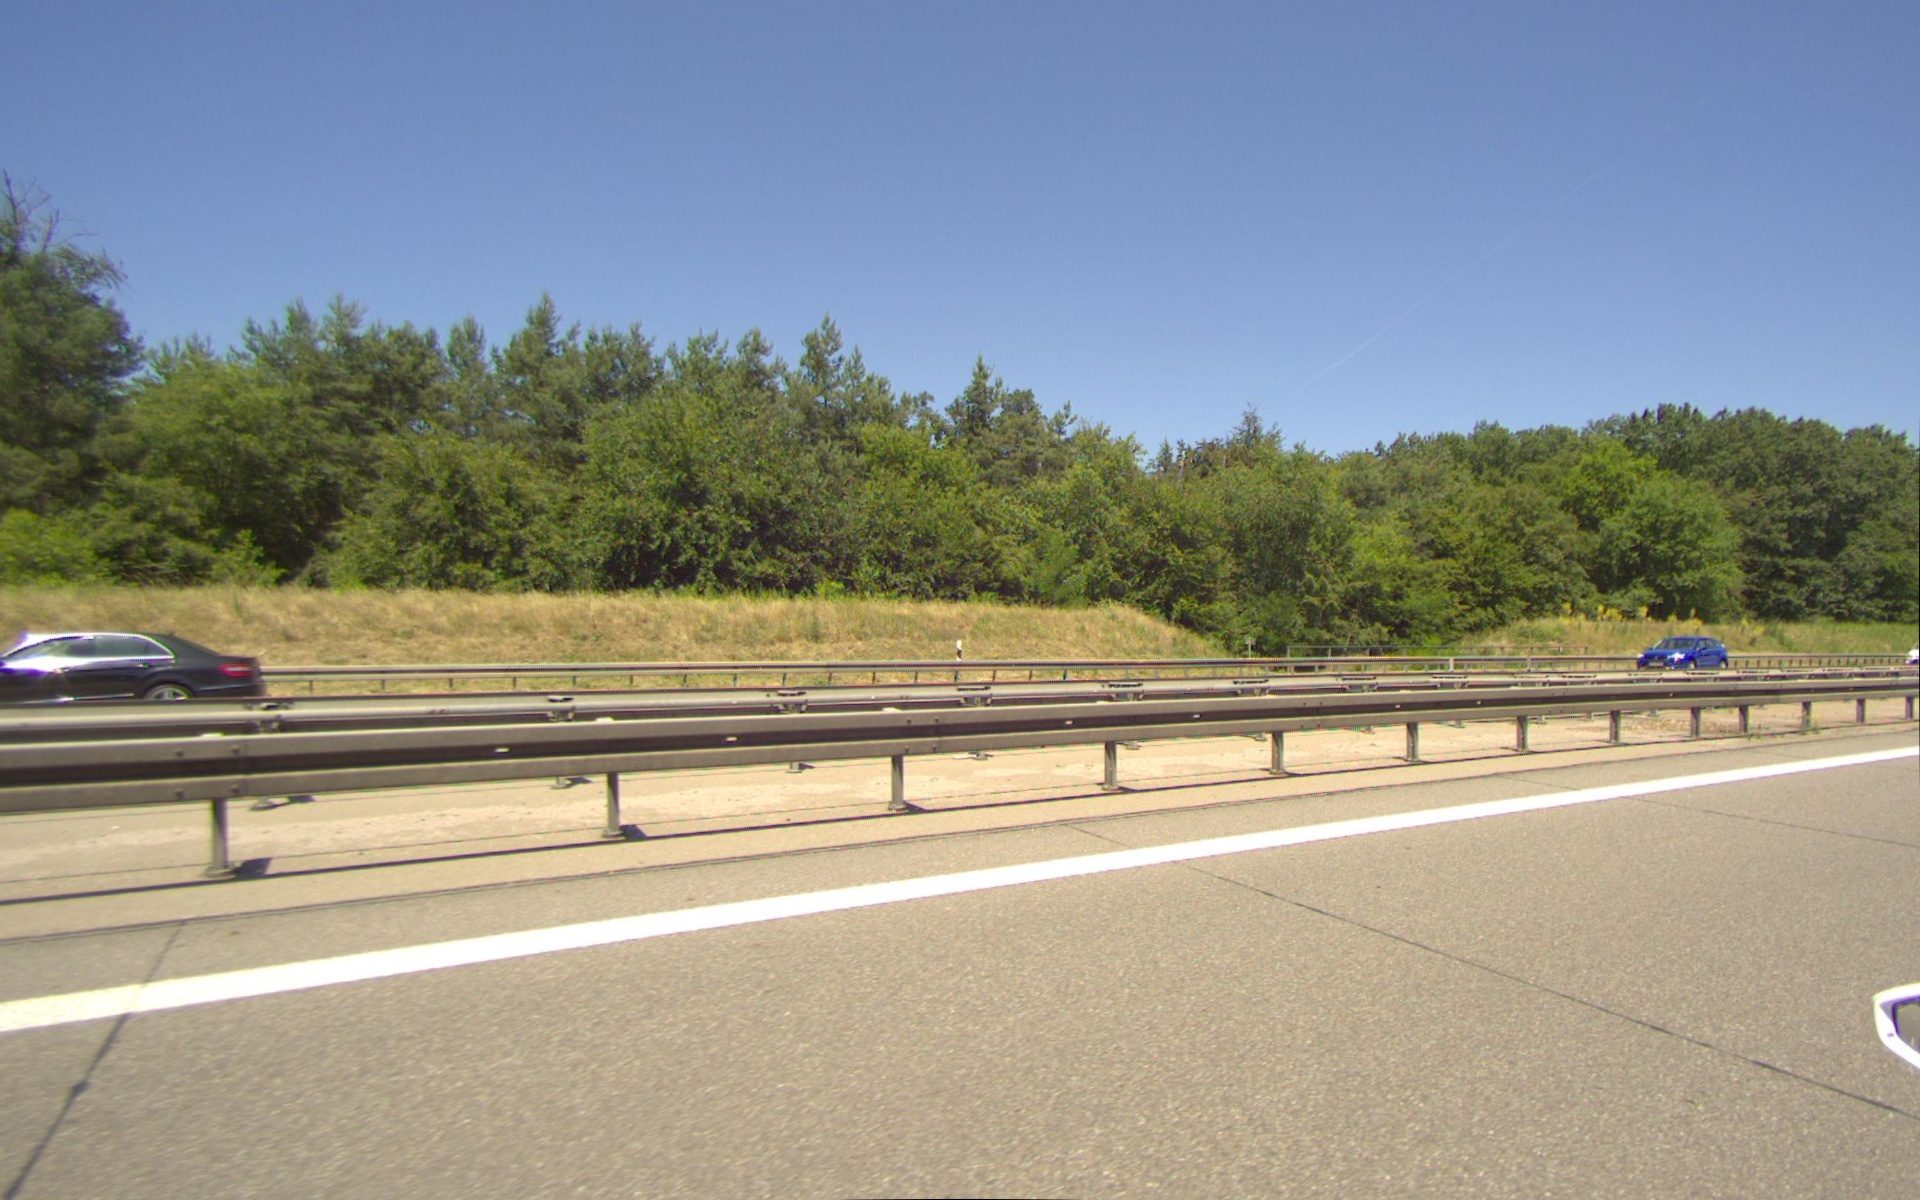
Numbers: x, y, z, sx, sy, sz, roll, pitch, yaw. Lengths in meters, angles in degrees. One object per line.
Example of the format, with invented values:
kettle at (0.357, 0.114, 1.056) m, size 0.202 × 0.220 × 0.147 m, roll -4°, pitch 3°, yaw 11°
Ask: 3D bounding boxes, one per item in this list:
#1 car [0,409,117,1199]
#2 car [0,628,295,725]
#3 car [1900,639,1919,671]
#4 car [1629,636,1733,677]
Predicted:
car at (-4.329, 0.481, 0.474) m, size 5.747 × 1.775 × 1.930 m, roll 1°, pitch 0°, yaw -31°
car at (-13.313, 1.166, 15.626) m, size 4.833 × 1.383 × 1.668 m, roll 1°, pitch -4°, yaw -31°
car at (53.824, 3.000, 55.258) m, size 5.057 × 1.682 × 1.694 m, roll 1°, pitch -4°, yaw -31°
car at (28.798, 2.227, 40.081) m, size 4.482 × 1.565 × 1.694 m, roll 1°, pitch -4°, yaw -31°
